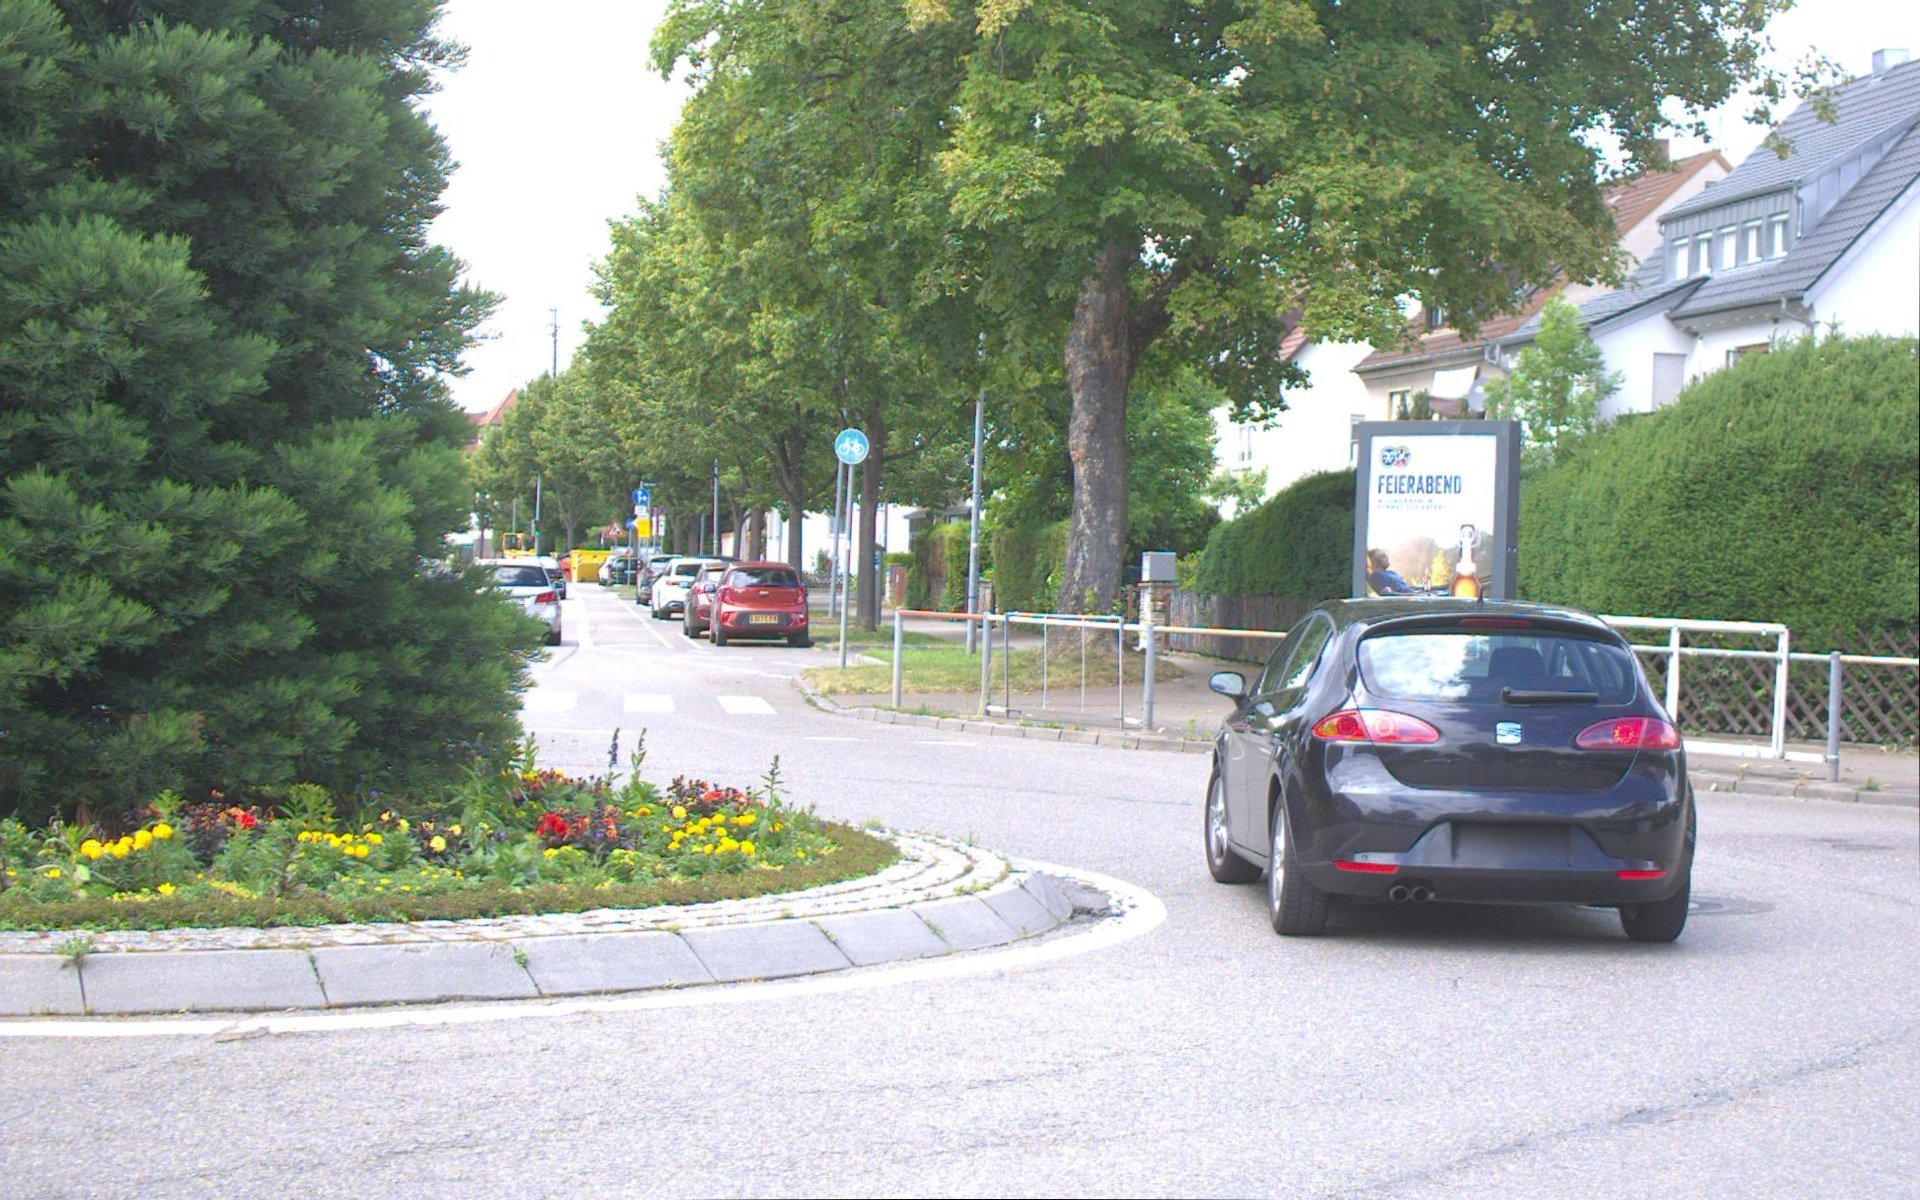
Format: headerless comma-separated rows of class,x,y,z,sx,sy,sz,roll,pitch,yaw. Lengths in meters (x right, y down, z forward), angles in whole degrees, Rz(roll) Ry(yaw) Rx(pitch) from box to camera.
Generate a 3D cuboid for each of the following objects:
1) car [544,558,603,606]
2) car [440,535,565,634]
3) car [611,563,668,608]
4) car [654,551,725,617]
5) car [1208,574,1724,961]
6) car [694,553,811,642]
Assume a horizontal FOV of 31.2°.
car,-12.860,-0.600,114.251,1.594,1.505,3.601,1,1,-11
car,-7.992,-0.291,59.786,1.993,1.607,4.001,2,1,-9
car,-11.385,-0.527,121.916,1.594,1.505,3.601,1,1,-11
car,-6.487,-0.401,82.258,1.594,1.505,3.601,1,1,-6
car,2.156,0.650,15.673,1.732,1.481,4.000,1,1,0
car,-3.705,-0.060,60.904,1.474,1.484,3.383,1,1,-13
